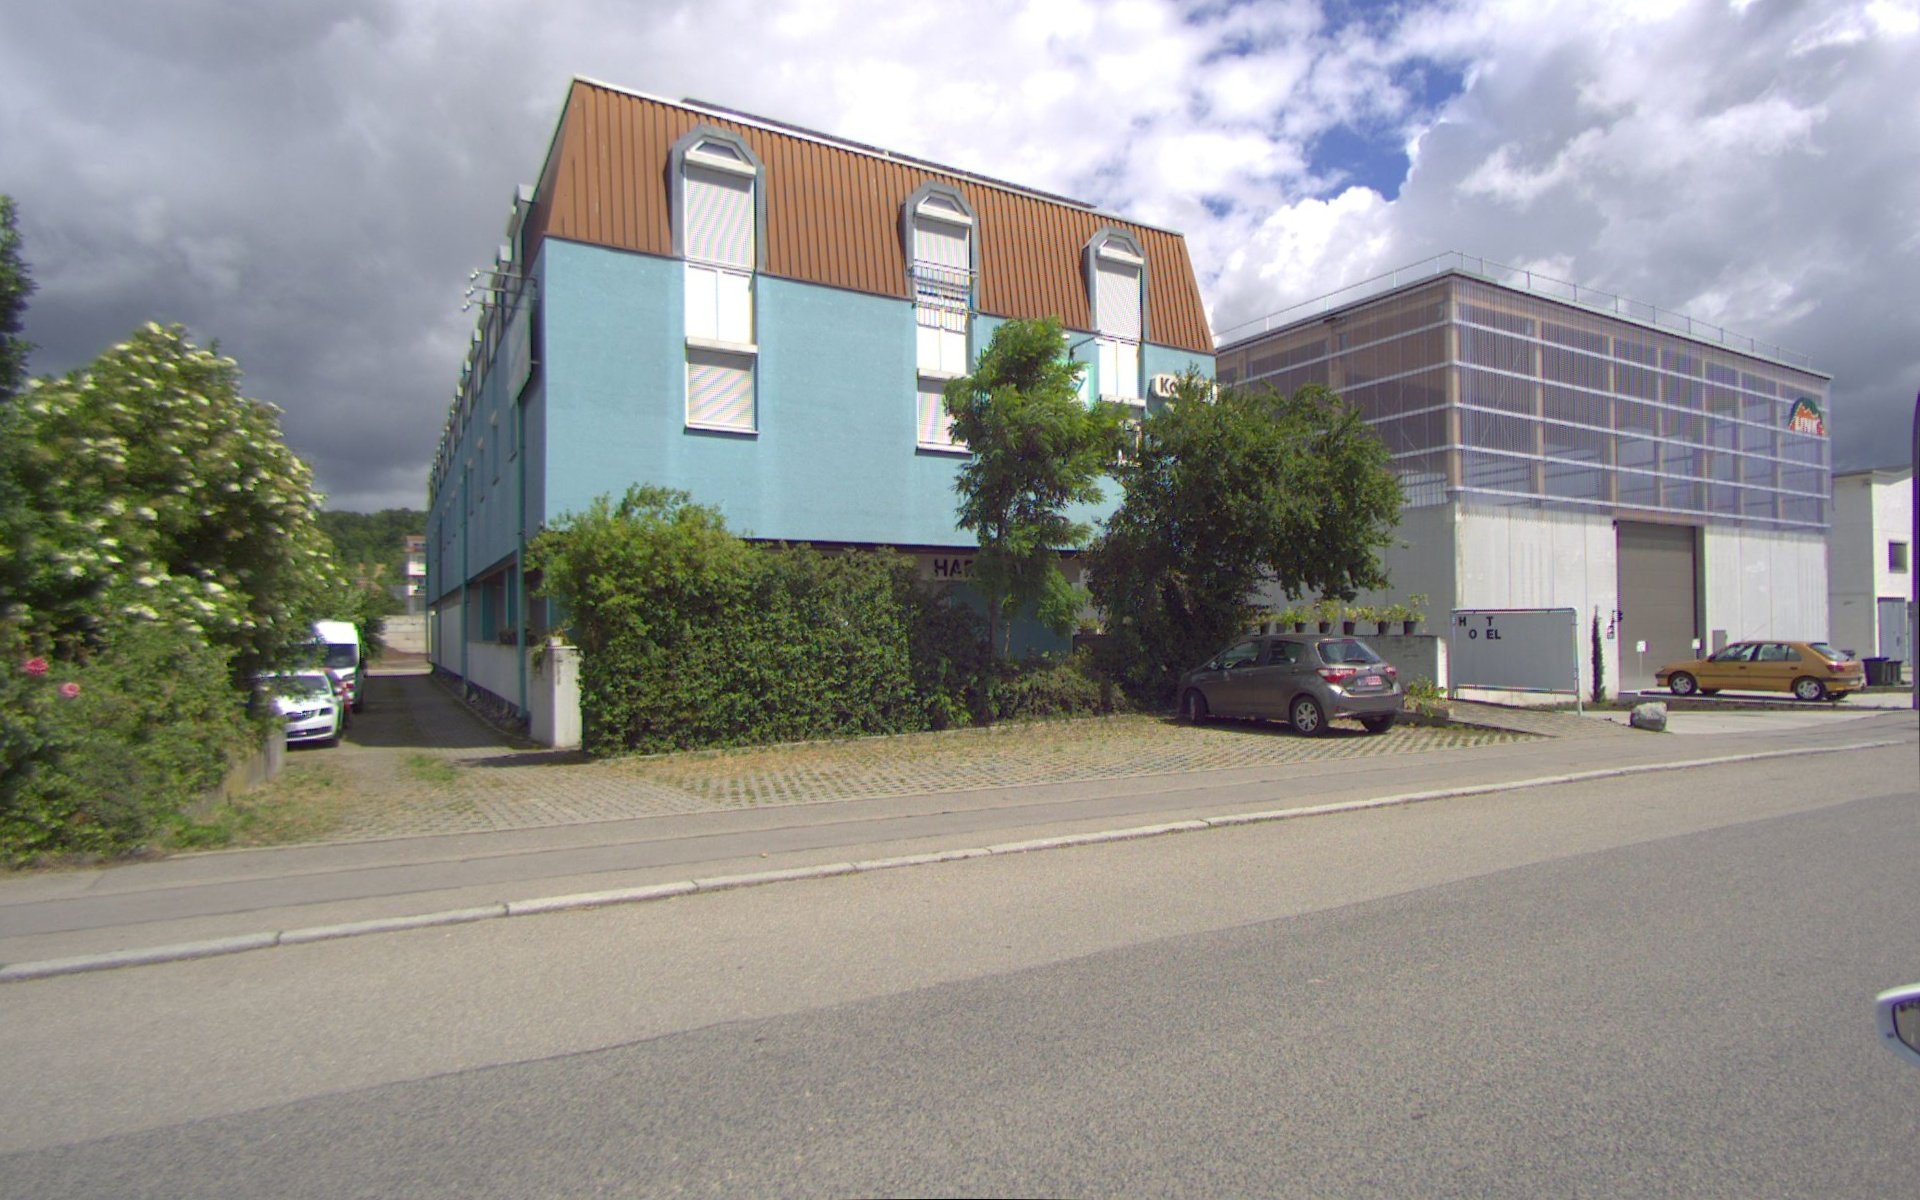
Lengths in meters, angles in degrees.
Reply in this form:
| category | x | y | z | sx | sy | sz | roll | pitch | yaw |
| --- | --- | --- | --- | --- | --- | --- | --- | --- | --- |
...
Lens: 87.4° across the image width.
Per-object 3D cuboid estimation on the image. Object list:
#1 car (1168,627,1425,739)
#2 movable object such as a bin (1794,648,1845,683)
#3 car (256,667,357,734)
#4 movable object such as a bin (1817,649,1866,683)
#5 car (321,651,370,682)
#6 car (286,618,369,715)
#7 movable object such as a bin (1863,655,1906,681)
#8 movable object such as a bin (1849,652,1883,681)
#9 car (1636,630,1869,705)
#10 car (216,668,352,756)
| category | x | y | z | sx | sy | sz | roll | pitch | yaw |
| --- | --- | --- | --- | --- | --- | --- | --- | --- | --- |
| car | 5.270 | 1.222 | 16.180 | 1.954 | 1.553 | 3.614 | 1 | -2 | -27 |
| movable object such as a bin | 34.651 | 2.631 | 40.496 | 1.796 | 1.374 | 0.953 | 1 | -3 | -29 |
| car | -16.232 | 2.440 | 25.030 | 1.978 | 1.405 | 3.965 | 1 | -3 | -33 |
| movable object such as a bin | 36.286 | 2.706 | 41.355 | 1.796 | 1.374 | 0.953 | 1 | -2 | -29 |
| car | -30.430 | 3.257 | 49.707 | 1.978 | 1.405 | 3.965 | 1 | -3 | -33 |
| car | -19.102 | 1.955 | 30.337 | 1.978 | 2.699 | 4.256 | 0 | -3 | -33 |
| movable object such as a bin | 35.076 | 2.565 | 38.113 | 1.500 | 0.931 | 0.740 | 1 | -3 | -29 |
| movable object such as a bin | 34.034 | 2.495 | 37.722 | 0.703 | 1.044 | 0.740 | 1 | -3 | -28 |
| car | 19.352 | 1.573 | 24.708 | 1.806 | 1.512 | 4.126 | 1 | 1 | -33 |
| car | -12.949 | 2.061 | 19.378 | 1.978 | 1.405 | 3.965 | 1 | -3 | -33 |
